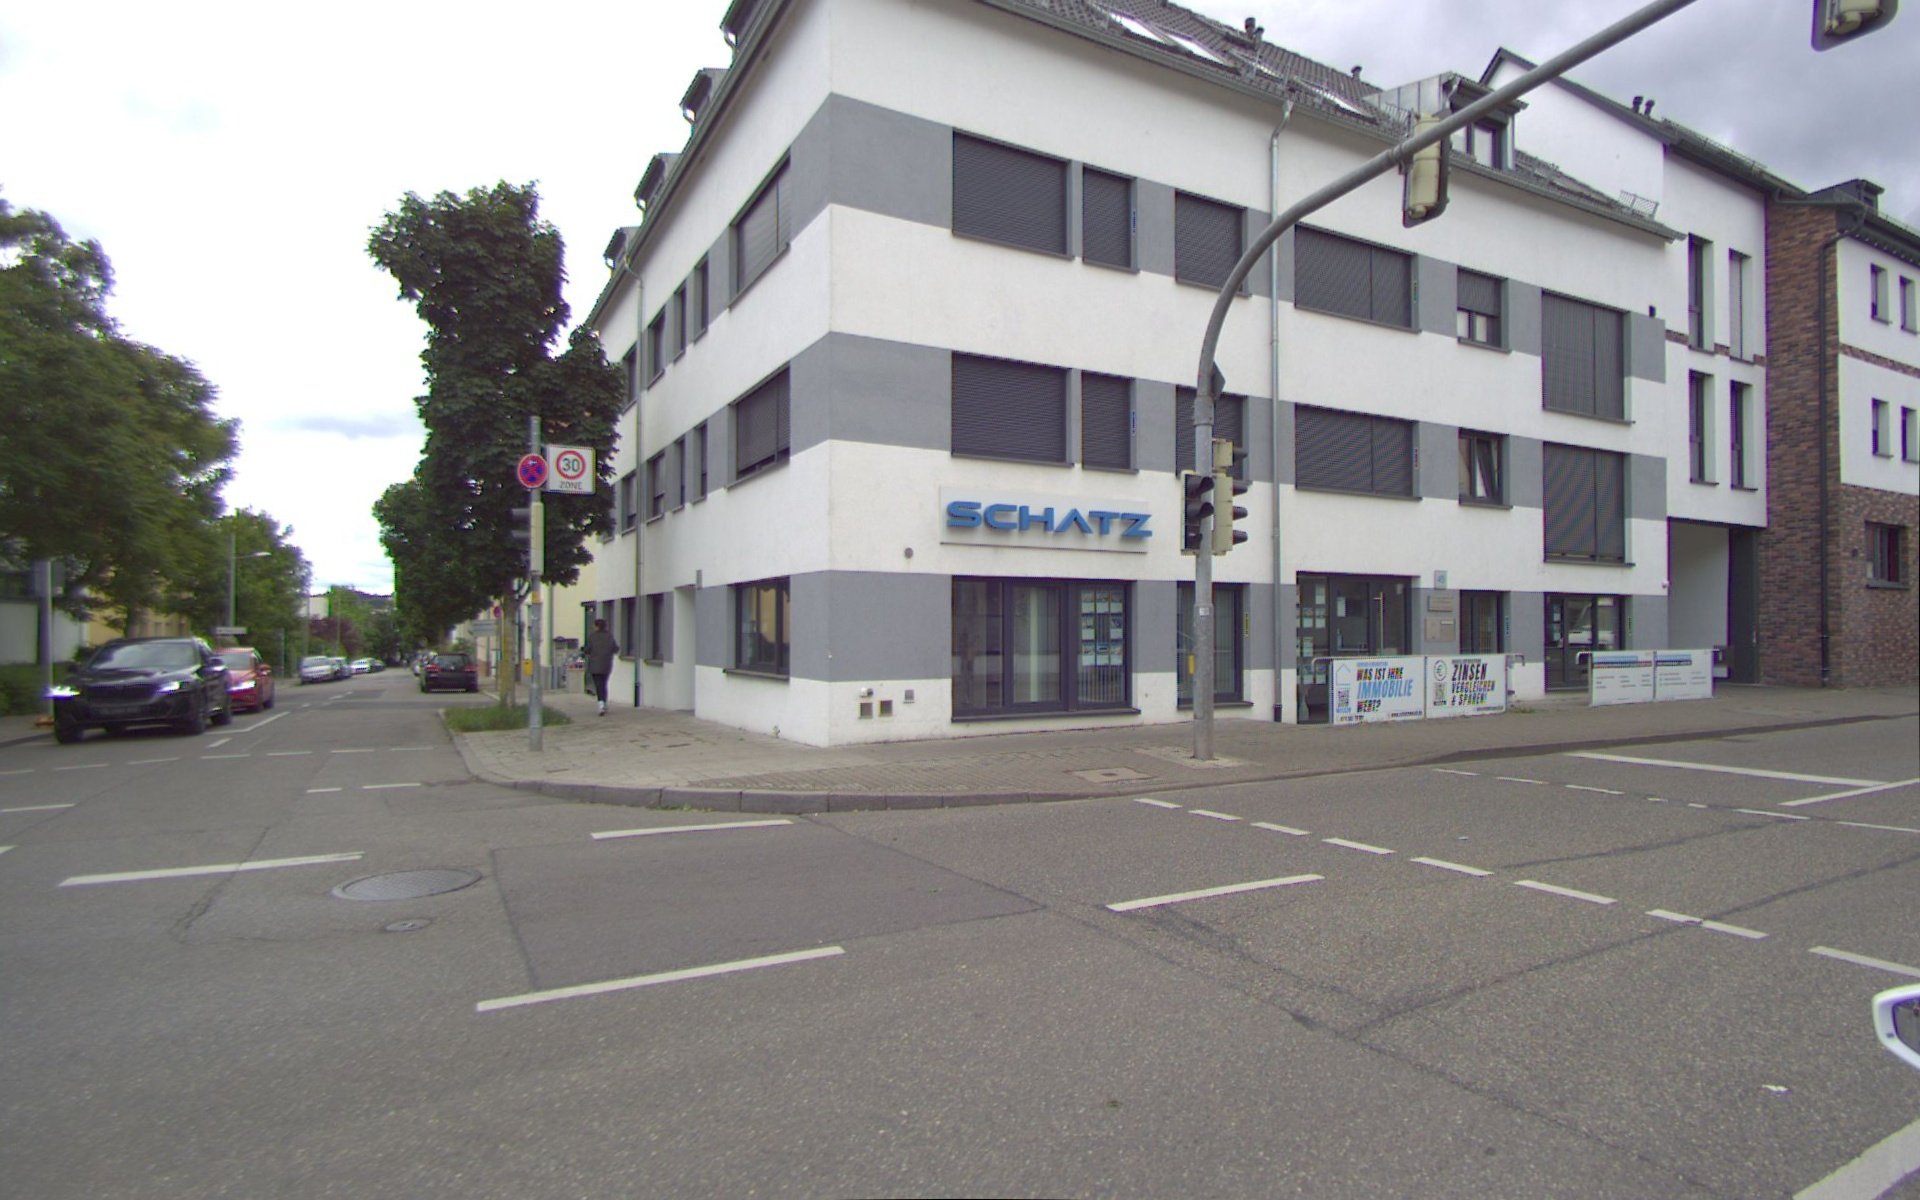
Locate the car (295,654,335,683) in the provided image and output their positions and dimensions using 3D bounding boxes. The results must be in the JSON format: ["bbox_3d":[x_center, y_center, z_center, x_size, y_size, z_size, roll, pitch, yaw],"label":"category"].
[{"bbox_3d":[-36.832,3.905,57.428,1.665,1.547,3.969,1,-3,-30],"label":"car"}]

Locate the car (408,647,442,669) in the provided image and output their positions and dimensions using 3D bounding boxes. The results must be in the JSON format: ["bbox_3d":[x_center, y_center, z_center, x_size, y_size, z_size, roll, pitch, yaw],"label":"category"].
[{"bbox_3d":[-40.849,4.432,76.641,1.893,1.552,3.963,1,-4,-34],"label":"car"}]

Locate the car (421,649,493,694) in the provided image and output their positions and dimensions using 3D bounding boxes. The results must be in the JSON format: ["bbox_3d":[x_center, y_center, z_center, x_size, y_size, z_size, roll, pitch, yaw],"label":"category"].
[{"bbox_3d":[-18.792,2.638,37.441,1.893,1.552,3.963,1,-4,-34],"label":"car"}]

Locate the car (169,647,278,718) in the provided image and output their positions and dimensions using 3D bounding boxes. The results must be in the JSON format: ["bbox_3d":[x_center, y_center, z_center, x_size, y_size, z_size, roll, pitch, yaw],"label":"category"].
[{"bbox_3d":[-17.583,1.914,24.144,1.665,1.547,3.969,1,-3,-30],"label":"car"}]

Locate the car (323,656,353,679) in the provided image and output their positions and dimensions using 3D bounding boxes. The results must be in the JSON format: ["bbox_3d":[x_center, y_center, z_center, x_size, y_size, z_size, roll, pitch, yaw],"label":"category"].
[{"bbox_3d":[-43.295,4.693,69.974,1.665,1.547,3.969,1,-3,-30],"label":"car"}]

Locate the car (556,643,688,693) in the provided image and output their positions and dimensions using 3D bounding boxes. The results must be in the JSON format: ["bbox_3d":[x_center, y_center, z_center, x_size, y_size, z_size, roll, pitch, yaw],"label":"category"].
[{"bbox_3d":[-11.274,2.239,33.575,3.953,1.547,1.672,1,-3,-30],"label":"car"}]

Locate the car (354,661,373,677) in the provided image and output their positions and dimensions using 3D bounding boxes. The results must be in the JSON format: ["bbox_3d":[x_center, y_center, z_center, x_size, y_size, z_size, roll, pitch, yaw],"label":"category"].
[{"bbox_3d":[-64.402,7.437,108.454,1.665,1.547,3.969,1,-3,-30],"label":"car"}]

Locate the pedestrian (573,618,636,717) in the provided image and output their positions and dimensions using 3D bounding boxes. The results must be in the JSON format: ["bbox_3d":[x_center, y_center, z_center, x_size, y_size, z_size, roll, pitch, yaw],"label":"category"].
[{"bbox_3d":[-6.378,1.184,18.071,0.868,1.692,0.813,-2,0,-9],"label":"pedestrian"}]

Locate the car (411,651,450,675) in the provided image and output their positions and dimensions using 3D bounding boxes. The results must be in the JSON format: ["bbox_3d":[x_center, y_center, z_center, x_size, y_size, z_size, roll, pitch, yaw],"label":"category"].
[{"bbox_3d":[-35.905,4.291,68.076,1.893,1.552,3.963,1,-4,-34],"label":"car"}]

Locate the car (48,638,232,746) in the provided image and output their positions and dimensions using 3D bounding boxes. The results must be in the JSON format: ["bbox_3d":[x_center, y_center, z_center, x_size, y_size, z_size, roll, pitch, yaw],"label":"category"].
[{"bbox_3d":[-14.011,1.514,17.406,1.890,1.553,3.968,-1,-2,-31],"label":"car"}]
